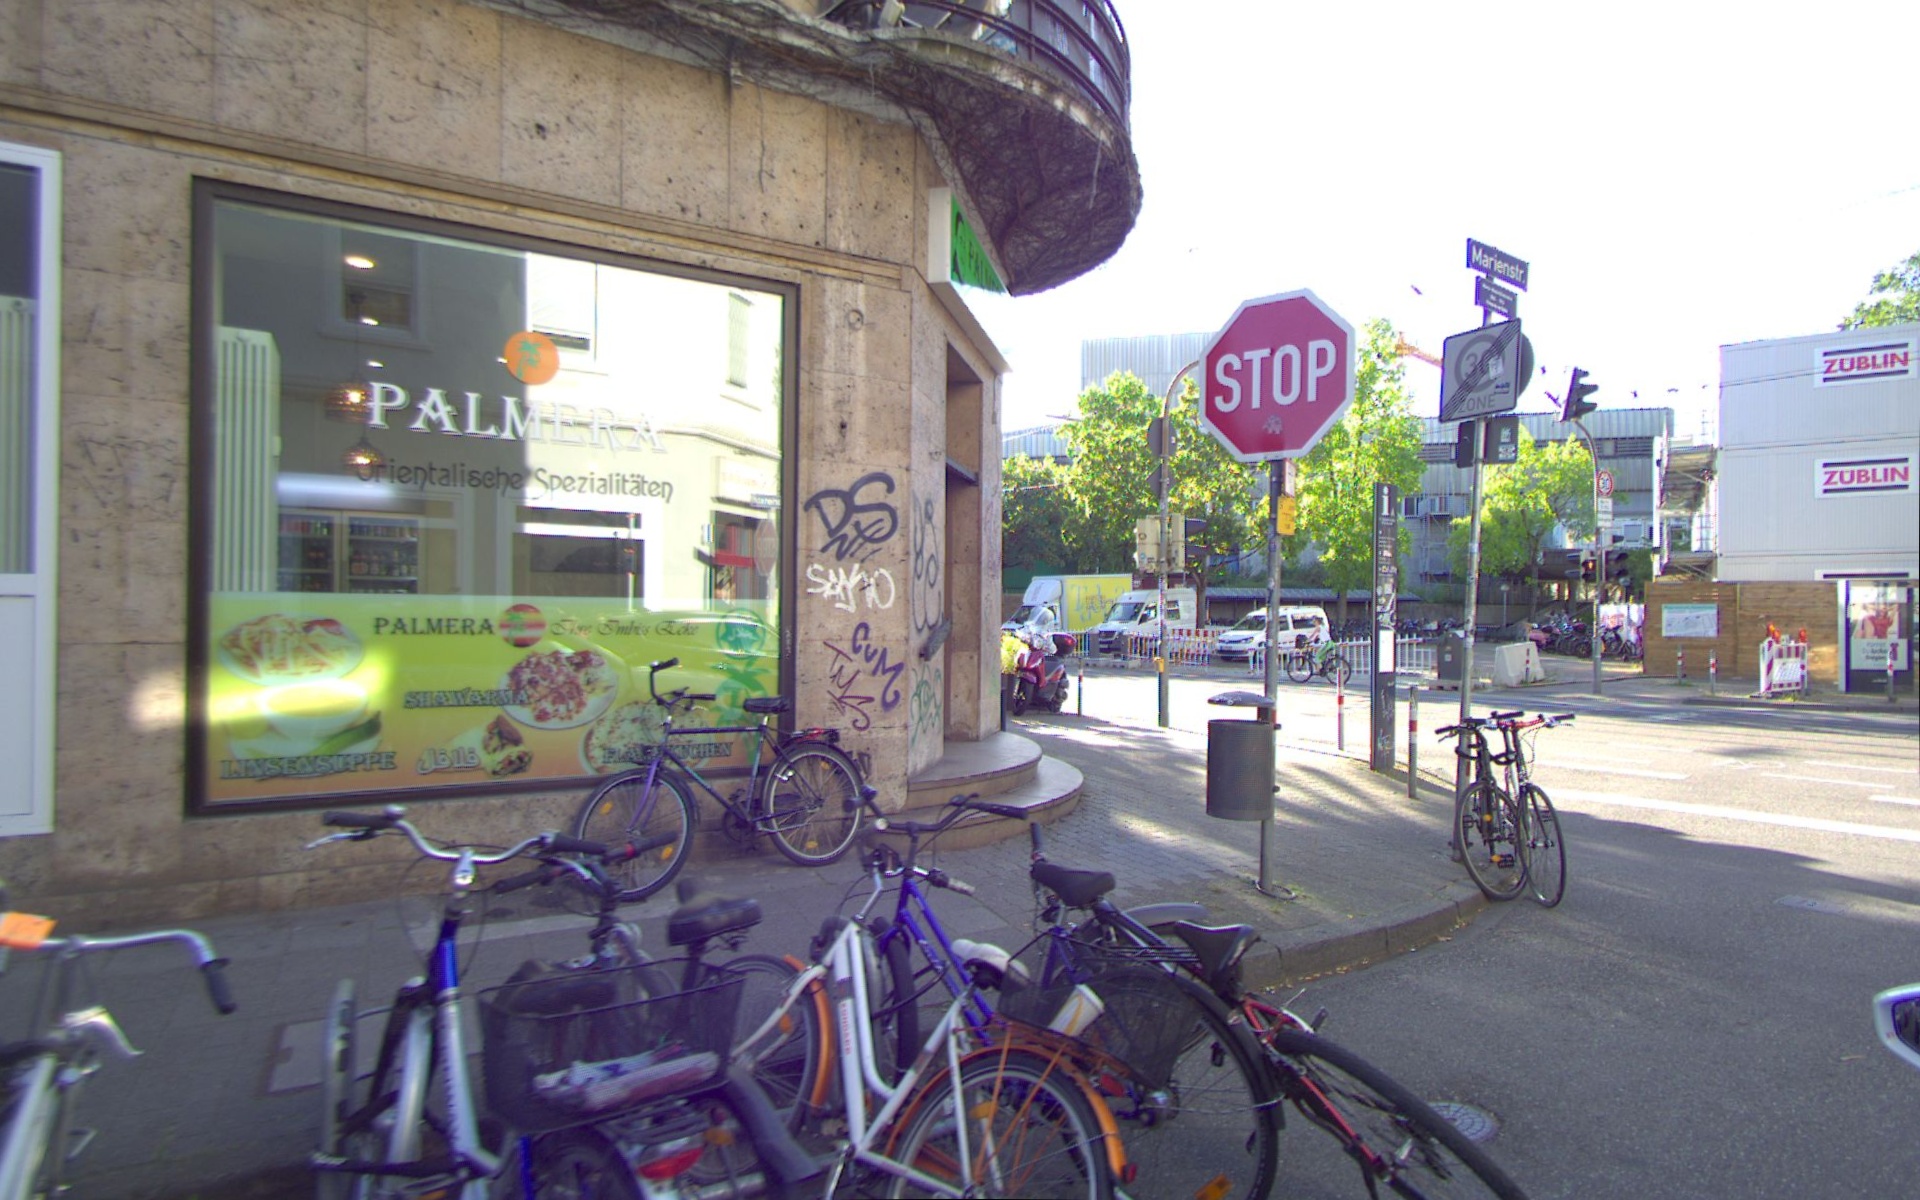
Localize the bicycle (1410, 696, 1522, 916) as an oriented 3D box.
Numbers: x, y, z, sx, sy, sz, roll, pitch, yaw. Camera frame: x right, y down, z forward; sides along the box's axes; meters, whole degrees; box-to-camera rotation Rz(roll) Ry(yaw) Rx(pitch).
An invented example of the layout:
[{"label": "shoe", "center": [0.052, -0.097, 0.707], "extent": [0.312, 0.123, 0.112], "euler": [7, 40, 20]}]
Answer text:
[{"label": "bicycle", "center": [3.157, 1.210, 6.359], "extent": [0.442, 1.059, 1.664], "euler": [0, -1, 20]}]

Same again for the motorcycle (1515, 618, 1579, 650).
[{"label": "motorcycle", "center": [23.792, 1.360, 40.716], "extent": [2.167, 1.274, 0.543], "euler": [-1, 0, 17]}]

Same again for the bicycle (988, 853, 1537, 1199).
[{"label": "bicycle", "center": [0.614, 1.167, 2.403], "extent": [0.352, 0.829, 1.298], "euler": [1, -1, -38]}]

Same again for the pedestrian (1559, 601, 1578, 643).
[{"label": "pedestrian", "center": [29.765, 1.084, 49.136], "extent": [0.789, 2.040, 1.028], "euler": [0, 0, 30]}]

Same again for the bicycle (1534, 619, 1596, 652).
[{"label": "bicycle", "center": [23.753, 1.406, 39.472], "extent": [2.009, 1.274, 0.543], "euler": [-1, 0, 17]}]

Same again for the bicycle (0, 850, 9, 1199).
[{"label": "bicycle", "center": [-1.974, 1.058, 1.480], "extent": [0.417, 0.974, 1.756], "euler": [0, -1, -30]}]

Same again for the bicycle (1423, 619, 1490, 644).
[{"label": "bicycle", "center": [24.285, 1.525, 49.218], "extent": [0.811, 1.163, 3.068], "euler": [0, -1, -26]}]

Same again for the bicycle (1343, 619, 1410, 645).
[{"label": "bicycle", "center": [19.307, 1.460, 46.643], "extent": [0.811, 1.163, 3.068], "euler": [0, -1, -26]}]

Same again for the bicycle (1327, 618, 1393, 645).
[{"label": "bicycle", "center": [18.340, 1.435, 46.201], "extent": [0.811, 1.163, 3.068], "euler": [0, -1, -26]}]

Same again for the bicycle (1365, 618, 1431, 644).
[{"label": "bicycle", "center": [20.649, 1.430, 47.416], "extent": [0.811, 1.163, 3.068], "euler": [0, -1, -26]}]

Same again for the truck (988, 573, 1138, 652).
[{"label": "truck", "center": [4.791, 0.490, 46.057], "extent": [7.051, 3.393, 2.366], "euler": [-1, 1, -36]}]

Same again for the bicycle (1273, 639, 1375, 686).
[{"label": "bicycle", "center": [9.399, 1.592, 26.038], "extent": [0.887, 1.107, 2.406], "euler": [2, -2, -35]}]

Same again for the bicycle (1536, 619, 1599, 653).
[{"label": "bicycle", "center": [23.525, 1.398, 38.921], "extent": [2.009, 1.274, 0.543], "euler": [-1, 0, 17]}]

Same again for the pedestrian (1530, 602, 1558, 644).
[{"label": "pedestrian", "center": [28.779, 1.115, 49.510], "extent": [0.926, 2.040, 0.798], "euler": [0, 0, -25]}]

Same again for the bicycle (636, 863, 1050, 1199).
[{"label": "bicycle", "center": [-0.364, 1.190, 2.448], "extent": [0.378, 0.829, 1.299], "euler": [0, -3, -38]}]

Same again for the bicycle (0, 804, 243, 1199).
[{"label": "bicycle", "center": [-1.599, 0.998, 1.707], "extent": [0.438, 0.974, 1.756], "euler": [0, -1, -30]}]

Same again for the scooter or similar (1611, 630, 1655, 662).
[{"label": "scooter or similar", "center": [22.288, 1.521, 33.262], "extent": [1.464, 1.033, 0.384], "euler": [0, 0, -18]}]

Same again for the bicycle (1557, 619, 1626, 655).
[{"label": "bicycle", "center": [22.521, 1.306, 35.838], "extent": [2.009, 1.274, 0.471], "euler": [-1, 0, 17]}]

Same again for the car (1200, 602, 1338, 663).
[{"label": "car", "center": [11.172, 1.113, 36.221], "extent": [4.890, 1.918, 1.994], "euler": [-2, 1, -31]}]

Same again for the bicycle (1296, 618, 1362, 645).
[{"label": "bicycle", "center": [16.538, 1.385, 45.083], "extent": [0.811, 1.163, 3.068], "euler": [0, -1, -26]}]

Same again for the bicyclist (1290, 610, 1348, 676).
[{"label": "bicyclist", "center": [9.341, 1.116, 26.146], "extent": [0.887, 1.661, 1.089], "euler": [2, -2, -35]}]

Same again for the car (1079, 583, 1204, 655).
[{"label": "car", "center": [7.497, 0.721, 41.120], "extent": [5.334, 2.565, 1.978], "euler": [-3, 2, -39]}]

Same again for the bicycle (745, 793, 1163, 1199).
[{"label": "bicycle", "center": [-0.108, 1.031, 2.735], "extent": [0.358, 0.829, 1.376], "euler": [0, -3, -38]}]

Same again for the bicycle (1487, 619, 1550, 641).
[{"label": "bicycle", "center": [29.966, 1.589, 53.948], "extent": [0.811, 1.163, 3.068], "euler": [0, -1, -26]}]

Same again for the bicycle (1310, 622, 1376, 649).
[{"label": "bicycle", "center": [17.383, 1.592, 45.669], "extent": [0.811, 1.163, 3.068], "euler": [0, -1, -26]}]

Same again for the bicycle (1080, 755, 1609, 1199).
[{"label": "bicycle", "center": [0.906, 0.907, 2.642], "extent": [0.368, 0.829, 1.298], "euler": [1, -1, -38]}]

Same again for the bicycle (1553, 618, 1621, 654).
[{"label": "bicycle", "center": [22.641, 1.314, 36.303], "extent": [2.009, 1.274, 0.471], "euler": [-1, 0, 17]}]

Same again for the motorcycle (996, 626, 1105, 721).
[{"label": "motorcycle", "center": [1.475, 1.129, 15.831], "extent": [0.981, 1.368, 2.420], "euler": [-1, -3, 24]}]

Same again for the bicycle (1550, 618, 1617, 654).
[{"label": "bicycle", "center": [22.806, 1.321, 36.779], "extent": [2.009, 1.274, 0.471], "euler": [-1, 0, 17]}]

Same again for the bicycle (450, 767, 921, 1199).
[{"label": "bicycle", "center": [-0.747, 0.985, 2.236], "extent": [0.423, 0.974, 1.752], "euler": [1, -1, -36]}]

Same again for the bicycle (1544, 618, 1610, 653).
[{"label": "bicycle", "center": [23.184, 1.338, 37.774], "extent": [2.009, 1.274, 0.543], "euler": [-1, 0, 17]}]

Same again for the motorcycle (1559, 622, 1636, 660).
[{"label": "motorcycle", "center": [22.086, 1.407, 34.829], "extent": [2.167, 1.274, 0.543], "euler": [-1, 0, 17]}]

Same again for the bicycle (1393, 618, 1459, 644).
[{"label": "bicycle", "center": [22.349, 1.475, 48.282], "extent": [0.811, 1.163, 3.068], "euler": [0, -1, -26]}]

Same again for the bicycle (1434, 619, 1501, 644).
[{"label": "bicycle", "center": [25.078, 1.547, 49.698], "extent": [0.811, 1.163, 3.068], "euler": [0, -1, -26]}]

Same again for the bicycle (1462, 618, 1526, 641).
[{"label": "bicycle", "center": [27.673, 1.522, 52.131], "extent": [0.811, 1.163, 3.068], "euler": [0, -1, -26]}]

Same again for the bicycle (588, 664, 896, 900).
[{"label": "bicycle", "center": [-1.139, 0.913, 5.413], "extent": [1.572, 1.106, 0.396], "euler": [1, -1, -30]}]

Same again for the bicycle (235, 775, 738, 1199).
[{"label": "bicycle", "center": [-1.088, 0.974, 2.042], "extent": [0.477, 0.974, 1.749], "euler": [1, -1, -41]}]

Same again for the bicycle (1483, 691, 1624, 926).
[{"label": "bicycle", "center": [3.598, 1.185, 6.196], "extent": [0.449, 1.060, 1.687], "euler": [0, 1, 20]}]
